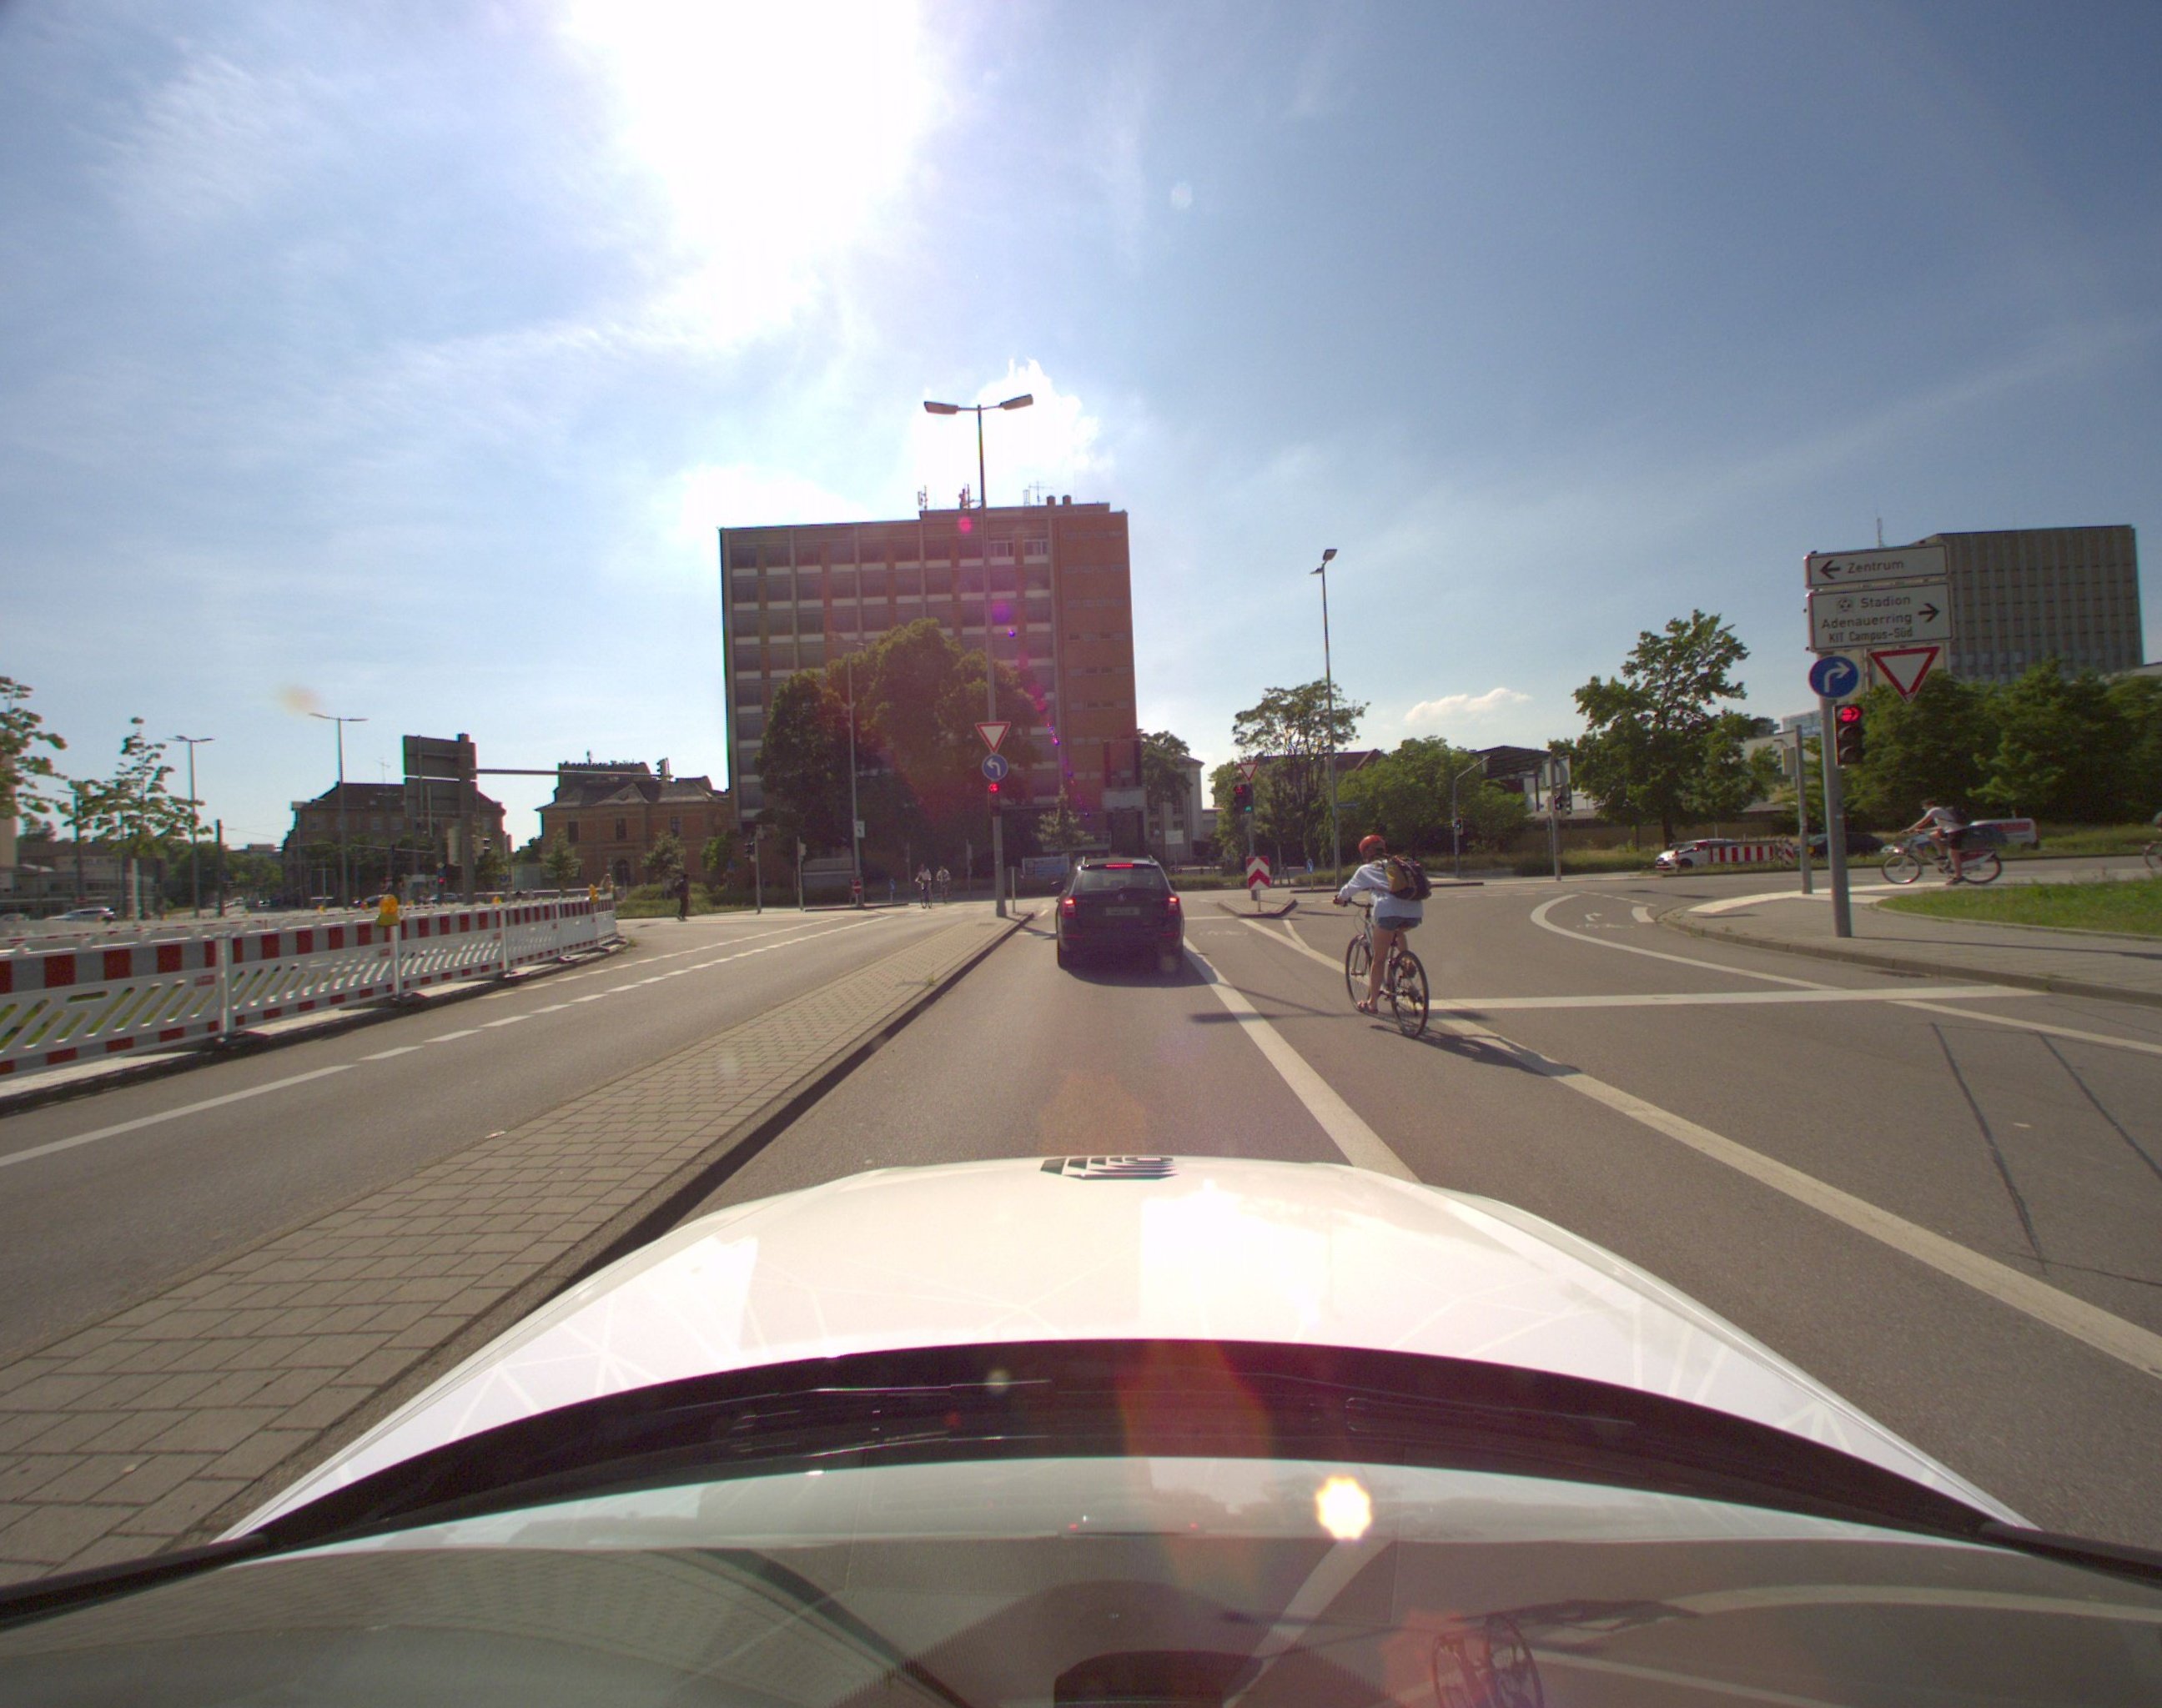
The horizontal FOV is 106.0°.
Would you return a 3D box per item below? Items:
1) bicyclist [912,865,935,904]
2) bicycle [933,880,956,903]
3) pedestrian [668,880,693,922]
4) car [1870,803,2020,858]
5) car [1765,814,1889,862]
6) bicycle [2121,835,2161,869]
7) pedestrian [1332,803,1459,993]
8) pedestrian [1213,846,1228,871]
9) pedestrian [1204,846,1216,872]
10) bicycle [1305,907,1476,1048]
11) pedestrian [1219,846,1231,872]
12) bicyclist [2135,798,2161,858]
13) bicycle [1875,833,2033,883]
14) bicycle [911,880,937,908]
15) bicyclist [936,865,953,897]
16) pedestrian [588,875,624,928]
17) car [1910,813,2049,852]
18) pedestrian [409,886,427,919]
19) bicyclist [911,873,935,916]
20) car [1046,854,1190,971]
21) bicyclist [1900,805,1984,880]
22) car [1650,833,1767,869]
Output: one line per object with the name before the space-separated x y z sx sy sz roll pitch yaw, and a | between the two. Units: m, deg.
bicyclist | -6.121 1.159 31.642 0.617 1.443 0.919 -5 0 -3
bicycle | -6.447 1.782 38.656 0.702 0.977 2.030 -3 0 0
pedestrian | -14.537 1.693 29.551 0.632 1.491 0.614 -3 -1 -15
car | 36.966 -0.959 34.939 3.966 2.014 2.004 -3 -3 7
car | 35.669 -0.742 39.047 3.970 2.013 2.002 -3 0 3
bicycle | 27.344 -0.078 20.238 1.876 0.792 0.562 -3 1 14
pedestrian | 2.621 0.347 6.885 0.582 1.466 1.012 -1 -1 -4
pedestrian | 10.606 0.340 61.949 0.786 1.874 0.643 -4 0 27
pedestrian | 9.816 0.380 61.995 0.591 1.874 0.642 -4 0 25
bicycle | 2.613 0.992 7.148 0.595 0.931 2.025 -1 -1 -4
pedestrian | 10.764 0.347 60.705 0.634 1.874 0.797 -4 0 1
bicyclist | 27.277 -0.667 20.253 1.157 1.474 0.566 -3 0 14
bicycle | 17.795 0.096 16.667 0.678 0.916 2.143 -3 -1 -41
bicycle | -6.085 1.547 31.653 0.617 0.961 1.966 -5 0 -3
bicyclist | -6.473 1.271 38.544 0.537 1.417 1.030 -4 -1 0
pedestrian | -16.532 1.648 28.376 0.737 1.752 1.105 -3 -3 -14
car | 41.995 -0.987 38.149 4.294 1.569 1.911 -3 0 1
pedestrian | -41.446 3.047 50.914 0.621 2.013 0.525 -3 -1 17
bicyclist | -6.080 1.545 31.406 0.617 1.581 1.013 -5 0 -3
car | 0.543 0.740 12.100 1.773 1.443 3.820 -1 0 2
bicyclist | 17.665 -0.214 16.722 0.499 1.470 1.129 1 -2 -41
car | 29.978 -0.104 39.020 3.972 1.464 2.000 -3 -2 1
